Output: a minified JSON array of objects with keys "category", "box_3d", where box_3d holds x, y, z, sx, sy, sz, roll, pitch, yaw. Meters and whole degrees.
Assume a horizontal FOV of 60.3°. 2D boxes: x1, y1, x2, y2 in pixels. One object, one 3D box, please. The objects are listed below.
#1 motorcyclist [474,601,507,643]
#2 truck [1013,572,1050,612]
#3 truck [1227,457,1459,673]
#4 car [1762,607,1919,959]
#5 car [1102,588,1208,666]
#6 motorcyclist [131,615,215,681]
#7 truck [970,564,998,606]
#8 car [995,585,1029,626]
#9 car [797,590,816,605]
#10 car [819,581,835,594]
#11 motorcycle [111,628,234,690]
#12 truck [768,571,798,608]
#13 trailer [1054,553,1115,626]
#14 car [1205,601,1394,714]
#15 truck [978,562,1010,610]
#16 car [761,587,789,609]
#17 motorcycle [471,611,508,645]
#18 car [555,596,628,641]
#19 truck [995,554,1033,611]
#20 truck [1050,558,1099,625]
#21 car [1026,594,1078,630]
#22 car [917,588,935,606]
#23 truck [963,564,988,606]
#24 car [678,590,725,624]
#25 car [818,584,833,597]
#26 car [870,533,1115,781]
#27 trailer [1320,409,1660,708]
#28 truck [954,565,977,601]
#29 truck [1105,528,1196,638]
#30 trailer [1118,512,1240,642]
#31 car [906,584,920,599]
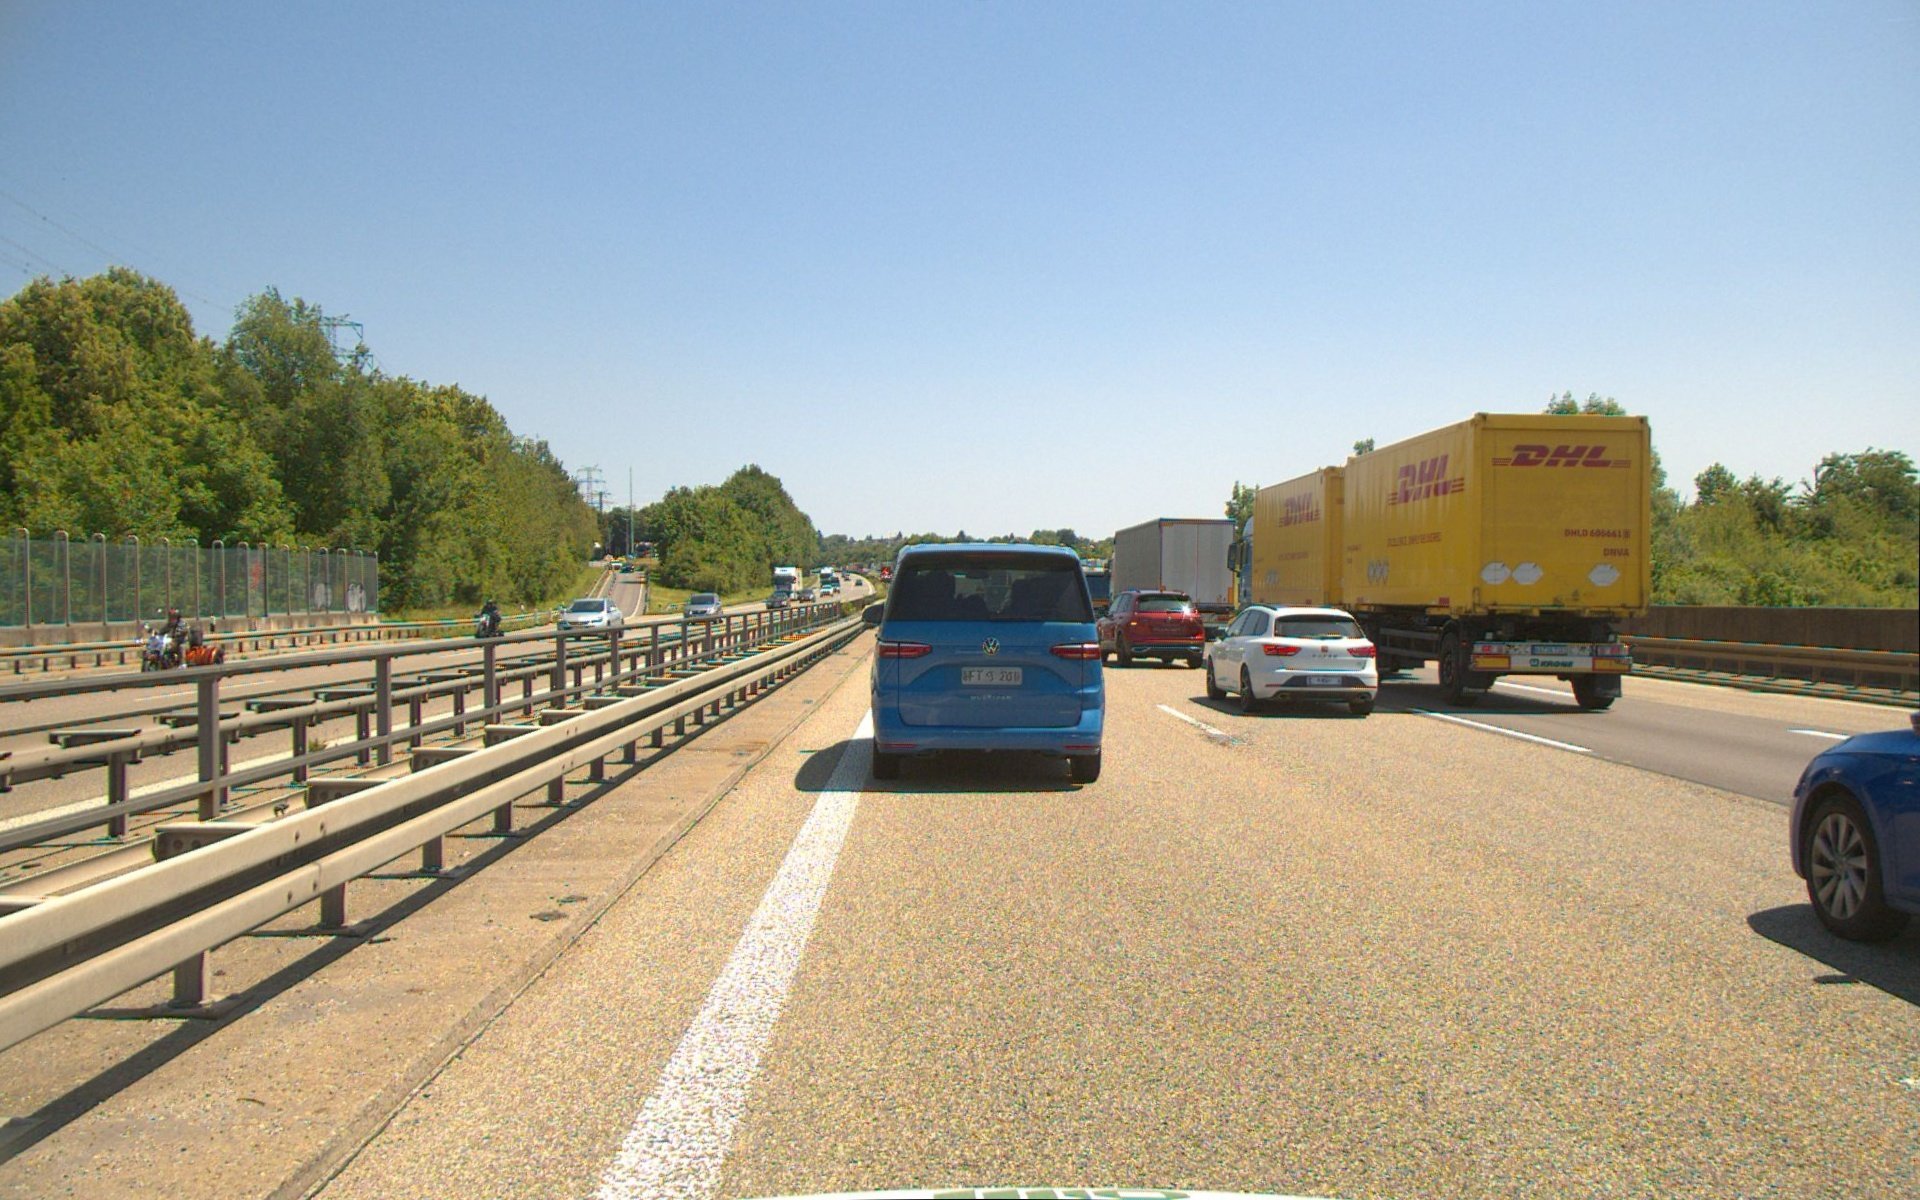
[{"category":"motorcyclist","box_3d":[-16.860,0.790,59.404,0.880,1.466,1.082,-1,1,-1]},{"category":"truck","box_3d":[6.035,-0.642,140.181,2.308,3.275,9.736,1,0,-2]},{"category":"truck","box_3d":[8.228,-0.650,37.043,2.667,4.125,10.334,1,0,-1]},{"category":"car","box_3d":[4.874,0.783,6.037,1.675,1.465,4.499,0,0,-1]},{"category":"car","box_3d":[4.242,0.550,36.479,1.813,1.636,3.999,0,0,-1]},{"category":"motorcyclist","box_3d":[-16.437,0.999,34.582,1.162,1.278,1.119,-3,1,-1]},{"category":"truck","box_3d":[2.906,-1.800,204.653,2.777,4.971,13.214,1,0,-2]},{"category":"car","box_3d":[2.684,0.287,86.027,1.551,2.049,3.492,1,0,-1]},{"category":"car","box_3d":[-16.925,-0.249,182.756,1.792,1.637,4.168,-1,0,-1]},{"category":"car","box_3d":[-19.277,-1.834,239.756,1.883,1.718,4.120,-3,0,-1]},{"category":"motorcycle","box_3d":[-16.451,1.210,34.649,1.338,1.118,2.575,-3,1,-1]},{"category":"truck","box_3d":[-21.681,-1.271,202.626,2.928,4.354,7.187,-1,0,-1]},{"category":"trailer","box_3d":[6.881,-0.511,92.722,2.331,3.809,11.185,1,0,-1]},{"category":"car","box_3d":[4.645,0.733,23.201,1.745,1.411,4.187,0,0,-1]},{"category":"truck","box_3d":[3.745,-1.498,183.367,2.777,5.128,11.811,1,0,-2]},{"category":"car","box_3d":[-14.758,-0.159,132.429,1.792,1.637,4.168,-3,0,-1]},{"category":"motorcycle","box_3d":[-16.880,0.998,59.426,0.687,1.089,2.305,-1,1,-1]},{"category":"car","box_3d":[-13.090,0.623,58.924,1.680,1.459,4.175,-3,0,-1]},{"category":"truck","box_3d":[5.035,-1.591,157.405,2.777,5.128,11.141,1,0,-2]},{"category":"truck","box_3d":[6.767,-0.481,98.535,2.320,3.787,6.031,1,0,-1]},{"category":"car","box_3d":[3.812,0.469,69.224,1.801,1.438,3.998,0,0,-2]},{"category":"car","box_3d":[-3.821,-0.307,187.235,1.953,2.049,3.999,1,0,-1]},{"category":"truck","box_3d":[2.059,-1.886,222.698,2.777,5.467,12.549,1,0,-2]},{"category":"car","box_3d":[-13.618,0.357,87.340,1.793,1.637,4.168,-3,0,-1]},{"category":"car","box_3d":[-19.438,-1.366,239.305,1.883,1.718,4.120,-3,0,-1]},{"category":"car","box_3d":[0.228,0.419,14.483,1.844,1.869,3.999,0,0,-1]},{"category":"trailer","box_3d":[8.326,-0.557,27.385,2.646,4.094,8.929,1,0,-1]},{"category":"truck","box_3d":[0.812,-2.531,247.178,2.777,5.128,12.907,1,0,-2]},{"category":"truck","box_3d":[7.606,-0.654,66.994,2.712,4.167,6.982,1,0,-1]},{"category":"trailer","box_3d":[7.725,-0.720,59.963,2.699,4.219,11.309,1,0,-1]},{"category":"car","box_3d":[-6.216,-1.115,218.221,1.704,1.944,3.680,1,0,-1]}]
